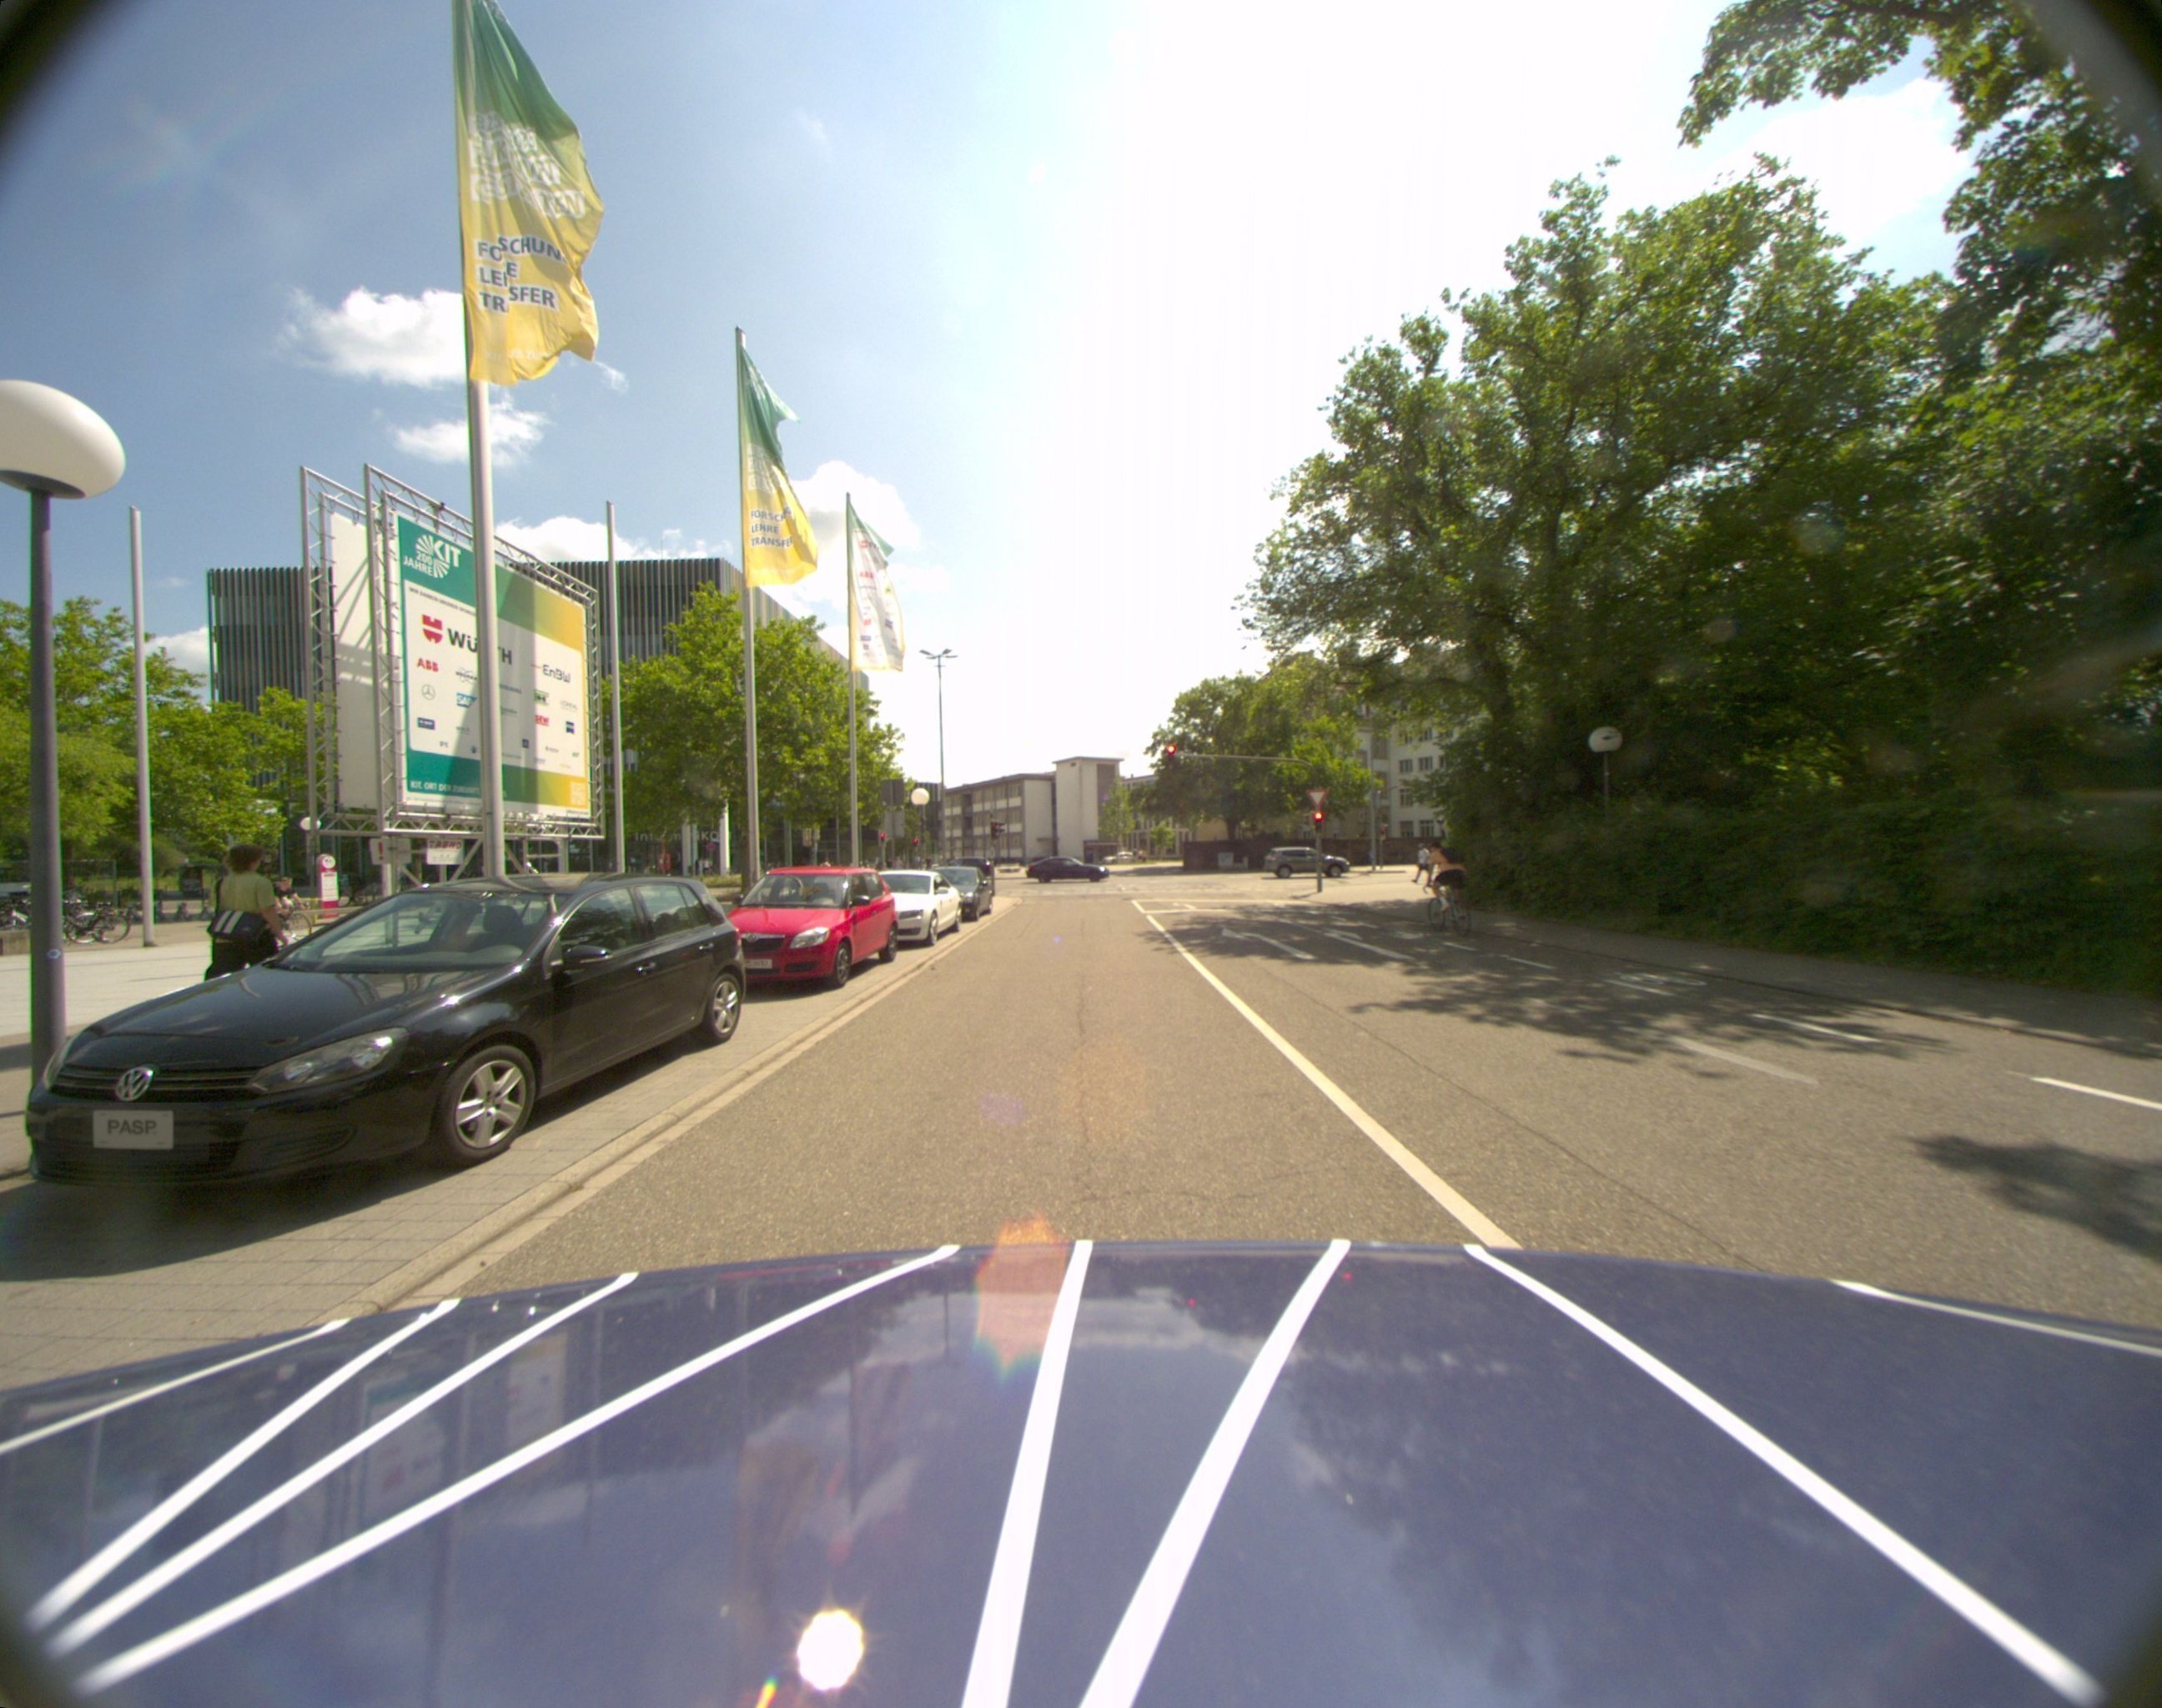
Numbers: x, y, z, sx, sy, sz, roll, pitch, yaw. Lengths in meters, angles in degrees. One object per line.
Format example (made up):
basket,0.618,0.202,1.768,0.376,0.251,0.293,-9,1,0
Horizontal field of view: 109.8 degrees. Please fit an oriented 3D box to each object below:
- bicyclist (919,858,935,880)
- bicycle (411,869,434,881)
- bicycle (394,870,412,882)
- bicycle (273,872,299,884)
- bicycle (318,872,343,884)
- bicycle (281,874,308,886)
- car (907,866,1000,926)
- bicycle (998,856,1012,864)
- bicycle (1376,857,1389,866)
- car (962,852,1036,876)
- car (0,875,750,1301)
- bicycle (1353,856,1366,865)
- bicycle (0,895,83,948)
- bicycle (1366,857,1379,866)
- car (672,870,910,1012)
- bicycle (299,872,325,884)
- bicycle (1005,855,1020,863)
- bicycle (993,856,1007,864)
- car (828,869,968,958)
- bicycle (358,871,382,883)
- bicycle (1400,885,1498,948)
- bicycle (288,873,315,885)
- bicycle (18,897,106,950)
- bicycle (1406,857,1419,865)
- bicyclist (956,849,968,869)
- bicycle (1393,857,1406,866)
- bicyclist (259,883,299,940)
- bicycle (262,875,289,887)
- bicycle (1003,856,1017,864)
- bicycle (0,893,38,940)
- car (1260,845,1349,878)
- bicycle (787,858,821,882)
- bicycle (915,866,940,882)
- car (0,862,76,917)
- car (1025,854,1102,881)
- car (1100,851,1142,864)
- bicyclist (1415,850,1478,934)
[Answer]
bicyclist,-11.548,1.125,56.923,1.001,1.606,0.656,-2,1,-28
bicycle,-58.505,1.844,67.483,0.373,0.950,1.548,0,2,16
bicycle,-59.305,1.906,66.428,0.373,0.950,1.544,-2,2,-10
bicycle,-70.596,2.148,67.490,0.433,0.950,1.784,-1,2,1
bicycle,-66.645,2.156,67.470,0.433,0.950,1.784,-1,2,1
bicycle,-69.893,2.273,67.522,0.433,0.950,1.784,-1,2,1
car,-3.438,1.079,21.348,1.722,1.392,4.948,1,0,1
bicycle,-9.668,0.716,96.713,1.776,0.950,0.528,-1,3,-28
bicycle,24.621,0.619,62.044,0.409,0.678,1.005,-2,2,-24
car,-5.489,0.666,51.277,4.712,1.520,2.000,-1,0,0
car,-3.921,0.970,4.966,1.723,1.520,4.000,0,0,1
bicycle,22.615,0.500,61.698,0.409,0.678,1.005,-2,2,-24
bicycle,-26.002,1.659,18.978,0.605,1.093,1.763,-2,3,-30
bicycle,23.745,0.638,61.894,0.409,0.678,1.005,-2,2,-24
car,-3.714,1.012,10.565,1.618,1.488,4.147,1,0,1
bicycle,-68.039,2.130,67.238,0.433,0.950,1.784,-1,2,1
bicycle,-8.491,0.669,94.754,1.776,0.950,0.528,-1,3,-28
bicycle,-10.418,0.731,97.804,1.776,0.950,0.528,-1,3,-28
car,-3.527,1.086,15.513,1.722,1.392,4.438,1,0,1
bicycle,-63.157,2.068,67.505,0.433,0.950,1.784,-1,2,1
bicycle,6.983,1.154,14.566,0.795,0.983,2.209,-1,1,0
bicycle,-69.269,2.209,67.529,0.433,0.950,1.784,-1,2,1
bicycle,-25.081,1.681,18.739,0.605,1.093,1.763,-2,3,-30
bicycle,27.187,0.568,62.347,0.409,0.678,1.005,-2,2,-24
bicyclist,-9.127,0.390,58.306,0.787,1.529,0.656,-2,1,-24
bicycle,26.015,0.597,62.046,0.409,0.678,1.005,-2,2,-24
bicyclist,-19.407,1.370,18.389,0.609,1.312,0.740,0,-1,-42
bicycle,-71.525,2.356,67.465,0.433,0.950,1.784,-1,2,1
bicycle,-8.928,0.694,95.655,1.776,0.950,0.528,-1,3,-28
bicycle,-27.481,1.605,19.211,0.605,1.093,1.763,-2,3,-30
car,12.343,0.409,42.184,4.473,1.669,1.826,-1,1,6
bicycle,-12.993,0.777,35.685,0.817,1.066,1.892,0,-3,2
bicycle,-11.530,1.488,56.930,1.673,1.118,0.693,-2,1,-27
car,-39.336,1.264,26.814,4.939,1.854,1.903,-1,1,-2
car,-0.966,0.769,43.363,4.186,1.408,1.831,-1,2,5
car,4.742,0.377,89.698,4.501,1.299,1.995,-2,2,-31
bicyclist,6.963,0.703,14.518,0.694,1.539,1.018,-1,1,-1
